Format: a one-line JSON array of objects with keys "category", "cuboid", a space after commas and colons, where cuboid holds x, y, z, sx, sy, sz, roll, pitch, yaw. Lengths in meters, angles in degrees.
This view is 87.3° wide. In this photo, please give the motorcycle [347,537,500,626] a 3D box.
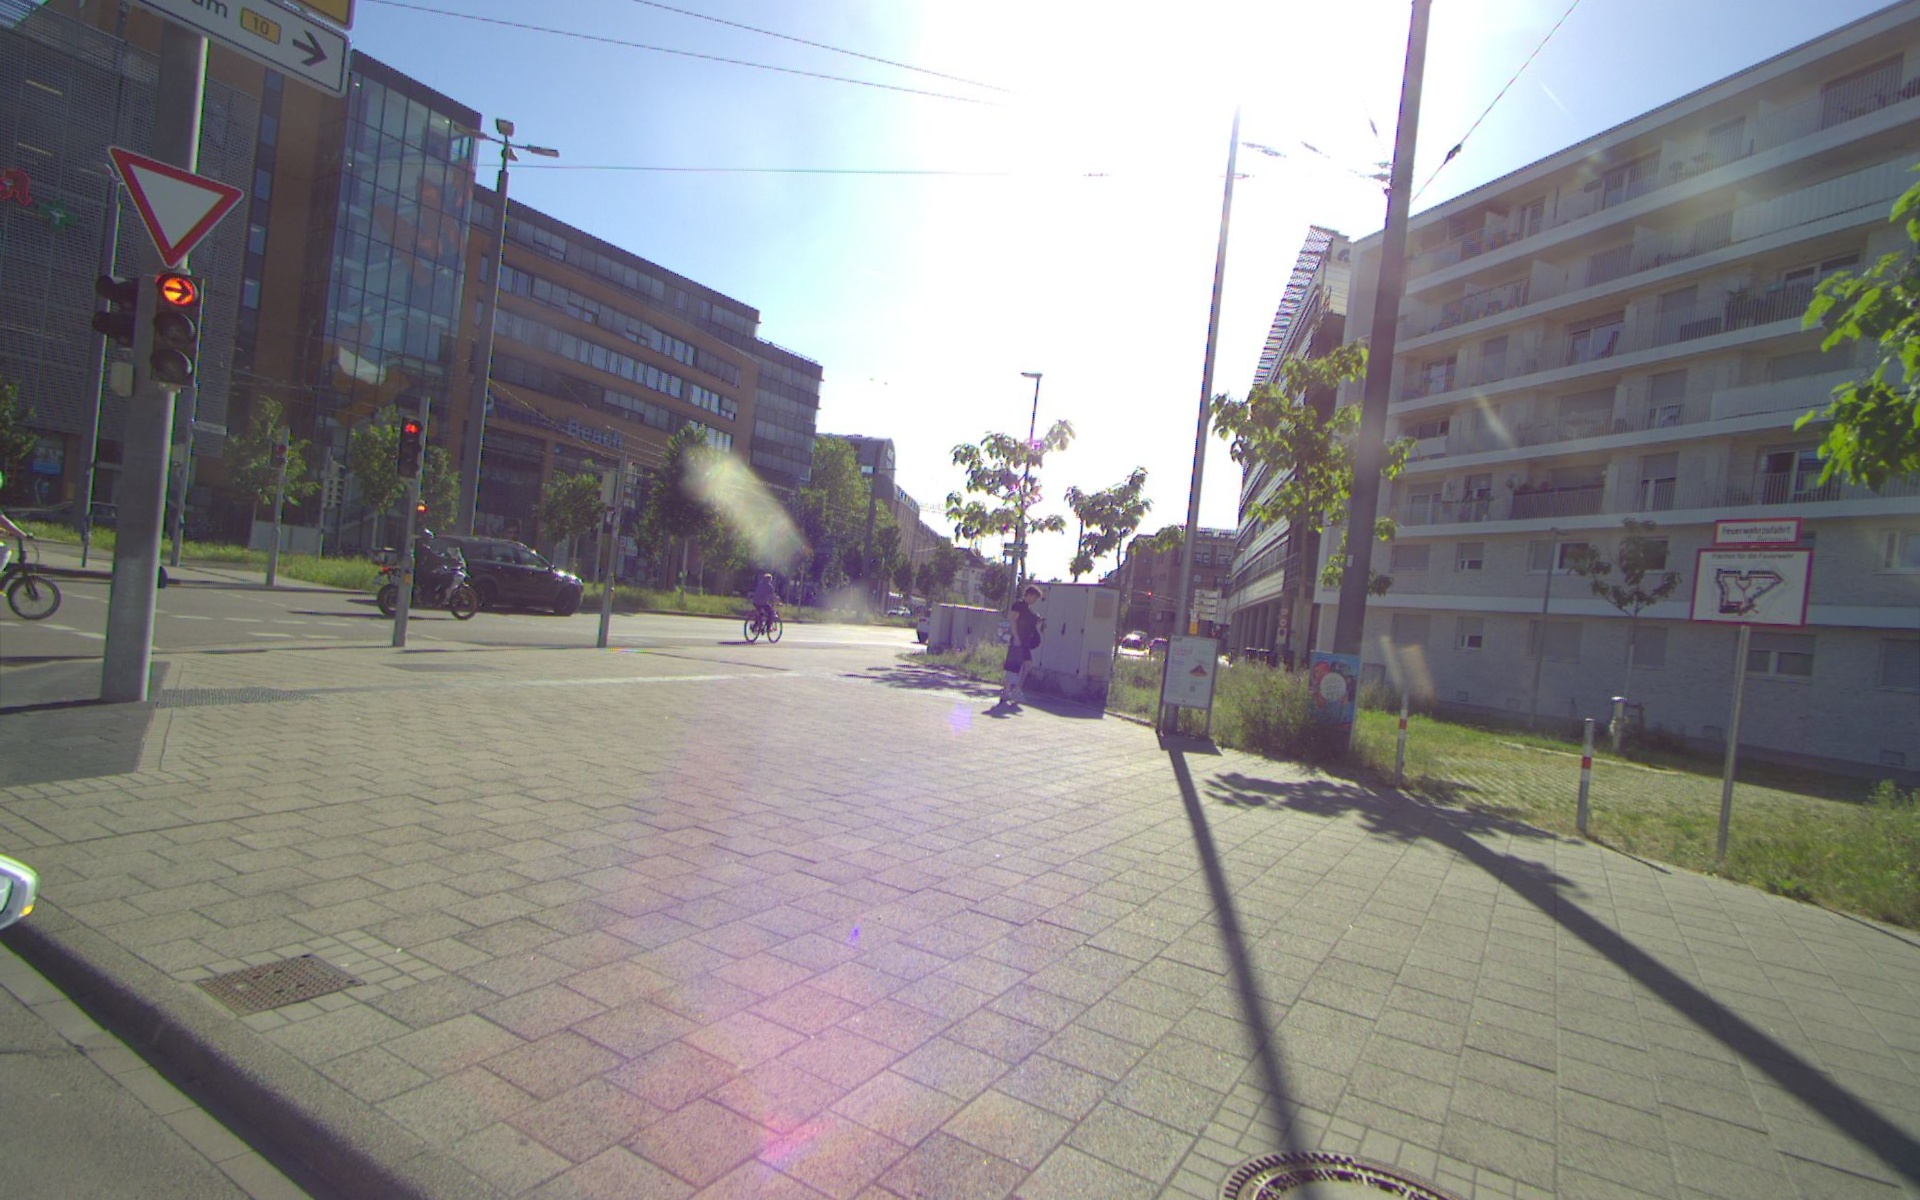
[{"category": "motorcycle", "cuboid": [-10.612, -0.330, 20.021, 0.899, 1.435, 2.448, 7, -2, 30]}]

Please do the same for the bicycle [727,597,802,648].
[{"category": "bicycle", "cuboid": [-5.181, 0.613, 26.773, 0.839, 1.129, 1.832, 7, -1, 32]}]

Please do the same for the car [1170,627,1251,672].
[{"category": "car", "cuboid": [14.308, 2.807, 57.589, 3.929, 2.038, 1.999, 7, 0, -5]}]

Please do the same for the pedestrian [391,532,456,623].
[{"category": "pedestrian", "cuboid": [-10.617, -0.440, 19.914, 0.653, 1.698, 0.745, 7, 0, 31]}]

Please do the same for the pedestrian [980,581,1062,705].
[{"category": "pedestrian", "cuboid": [0.918, 0.650, 15.014, 0.749, 1.729, 0.807, 7, 0, 31]}]

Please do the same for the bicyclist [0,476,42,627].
[{"category": "bicyclist", "cuboid": [-11.050, -0.585, 11.306, 0.678, 1.669, 0.784, 7, 0, 30]}]

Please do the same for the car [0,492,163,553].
[{"category": "car", "cuboid": [-31.837, -2.772, 36.309, 1.470, 1.513, 4.493, 7, -1, 32]}]

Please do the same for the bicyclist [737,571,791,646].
[{"category": "bicyclist", "cuboid": [-5.194, 0.229, 26.695, 0.840, 1.882, 0.903, 5, 0, 32]}]

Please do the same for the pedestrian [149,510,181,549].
[{"category": "pedestrian", "cuboid": [-39.056, -3.476, 49.417, 0.740, 1.759, 0.855, 7, 0, 25]}]

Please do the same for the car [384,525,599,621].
[{"category": "car", "cuboid": [-11.471, -0.589, 25.034, 1.806, 1.739, 4.649, 8, -1, 24]}]

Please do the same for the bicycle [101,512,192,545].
[{"category": "bicycle", "cuboid": [-40.995, -3.574, 50.753, 1.100, 1.090, 3.361, 7, -1, 38]}]

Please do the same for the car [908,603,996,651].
[{"category": "car", "cuboid": [-0.280, 1.199, 43.150, 1.806, 1.654, 4.500, 8, 0, 26]}]

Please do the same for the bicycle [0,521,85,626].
[{"category": "bicycle", "cuboid": [-11.132, -0.368, 11.394, 0.722, 1.119, 1.581, 7, -3, 29]}]
